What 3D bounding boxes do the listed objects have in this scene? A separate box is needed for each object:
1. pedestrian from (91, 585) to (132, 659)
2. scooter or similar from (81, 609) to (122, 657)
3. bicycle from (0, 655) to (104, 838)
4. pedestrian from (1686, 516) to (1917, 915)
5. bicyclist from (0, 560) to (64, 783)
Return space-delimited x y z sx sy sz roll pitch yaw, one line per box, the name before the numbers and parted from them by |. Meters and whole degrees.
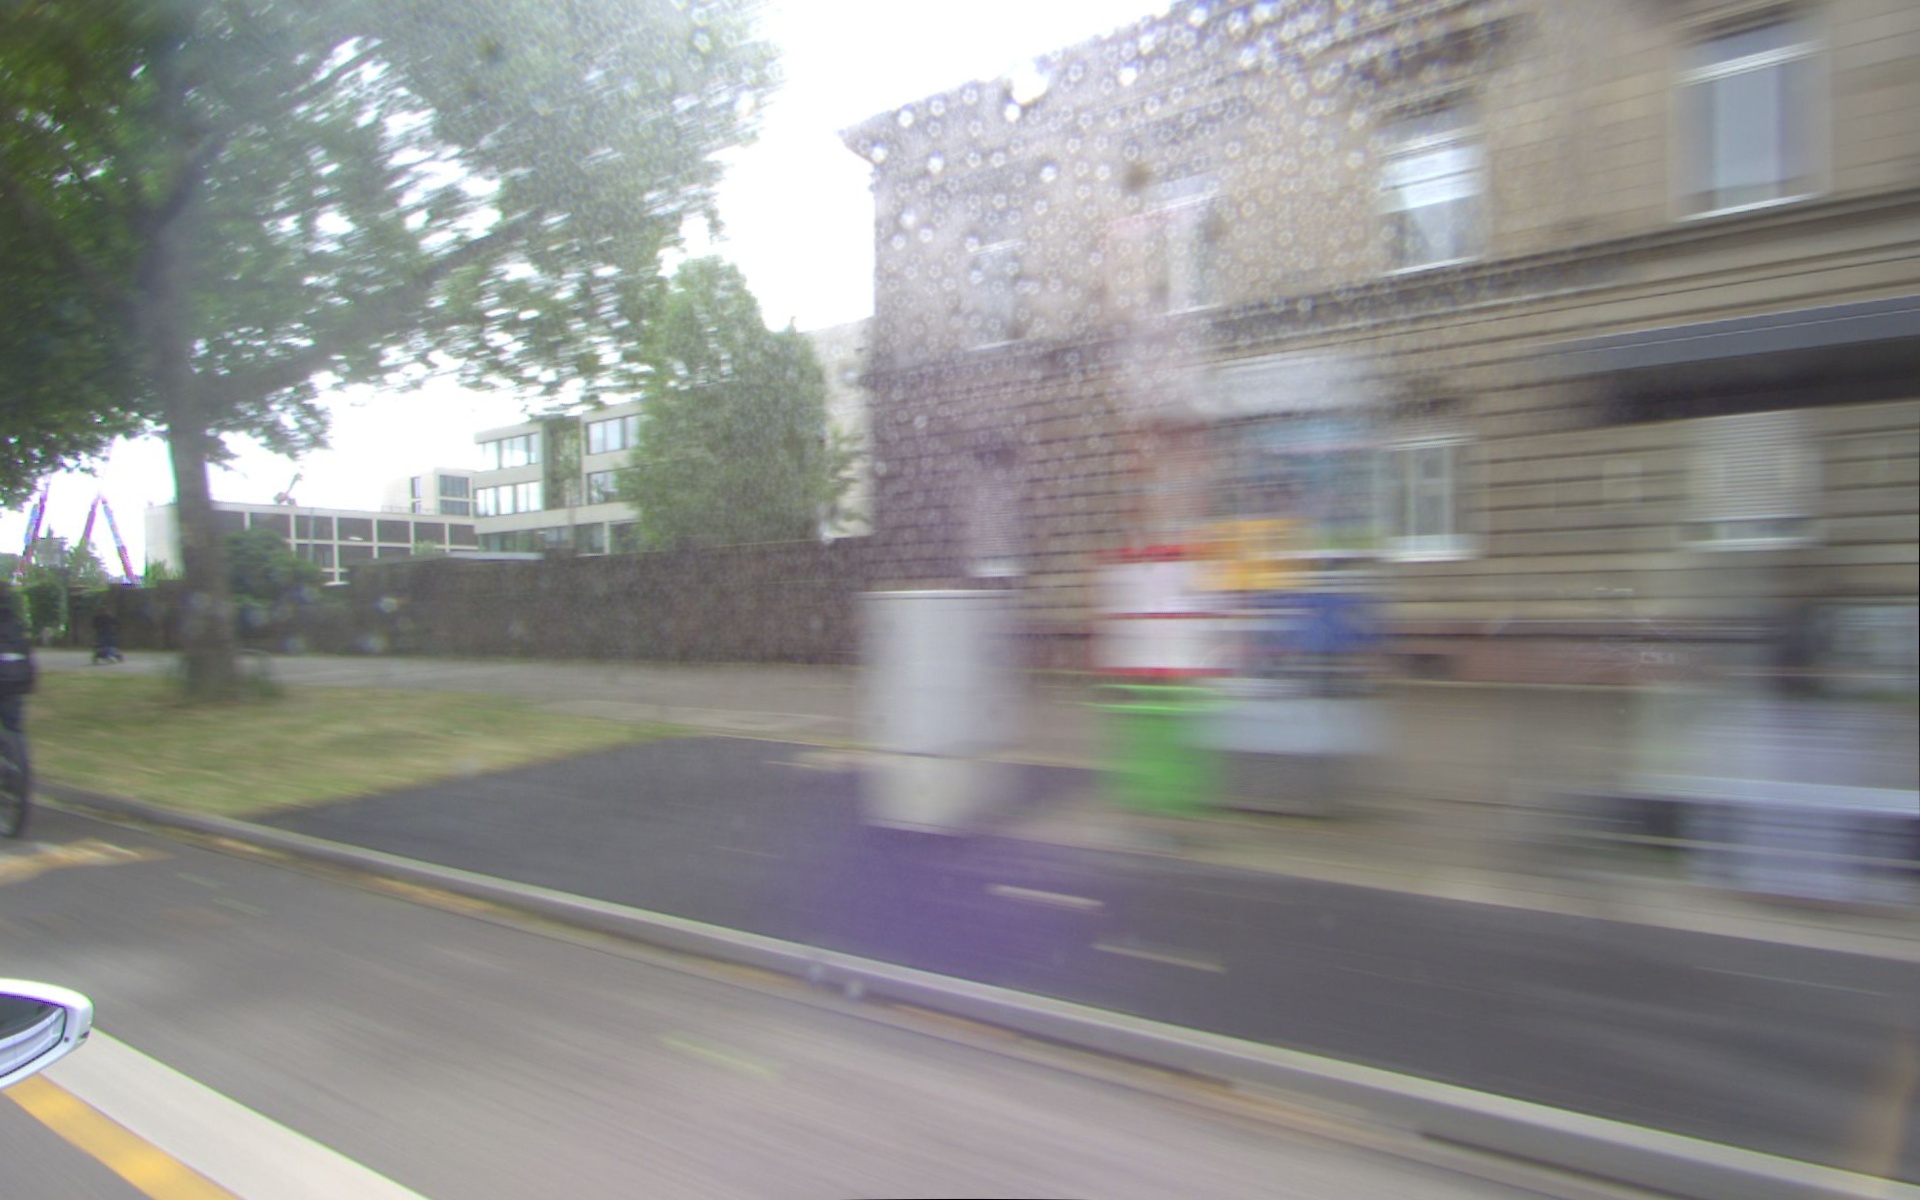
pedestrian | -23.967 0.621 28.283 0.911 2.040 0.582 -1 1 32
scooter or similar | -24.797 0.952 28.921 1.139 1.372 0.574 -1 1 33
bicycle | -7.145 1.005 7.325 2.250 1.165 0.651 -2 0 32
pedestrian | 3.619 0.466 4.358 0.692 1.584 0.475 -1 1 33
bicyclist | -6.969 0.506 7.155 0.655 1.551 0.639 -1 1 31
